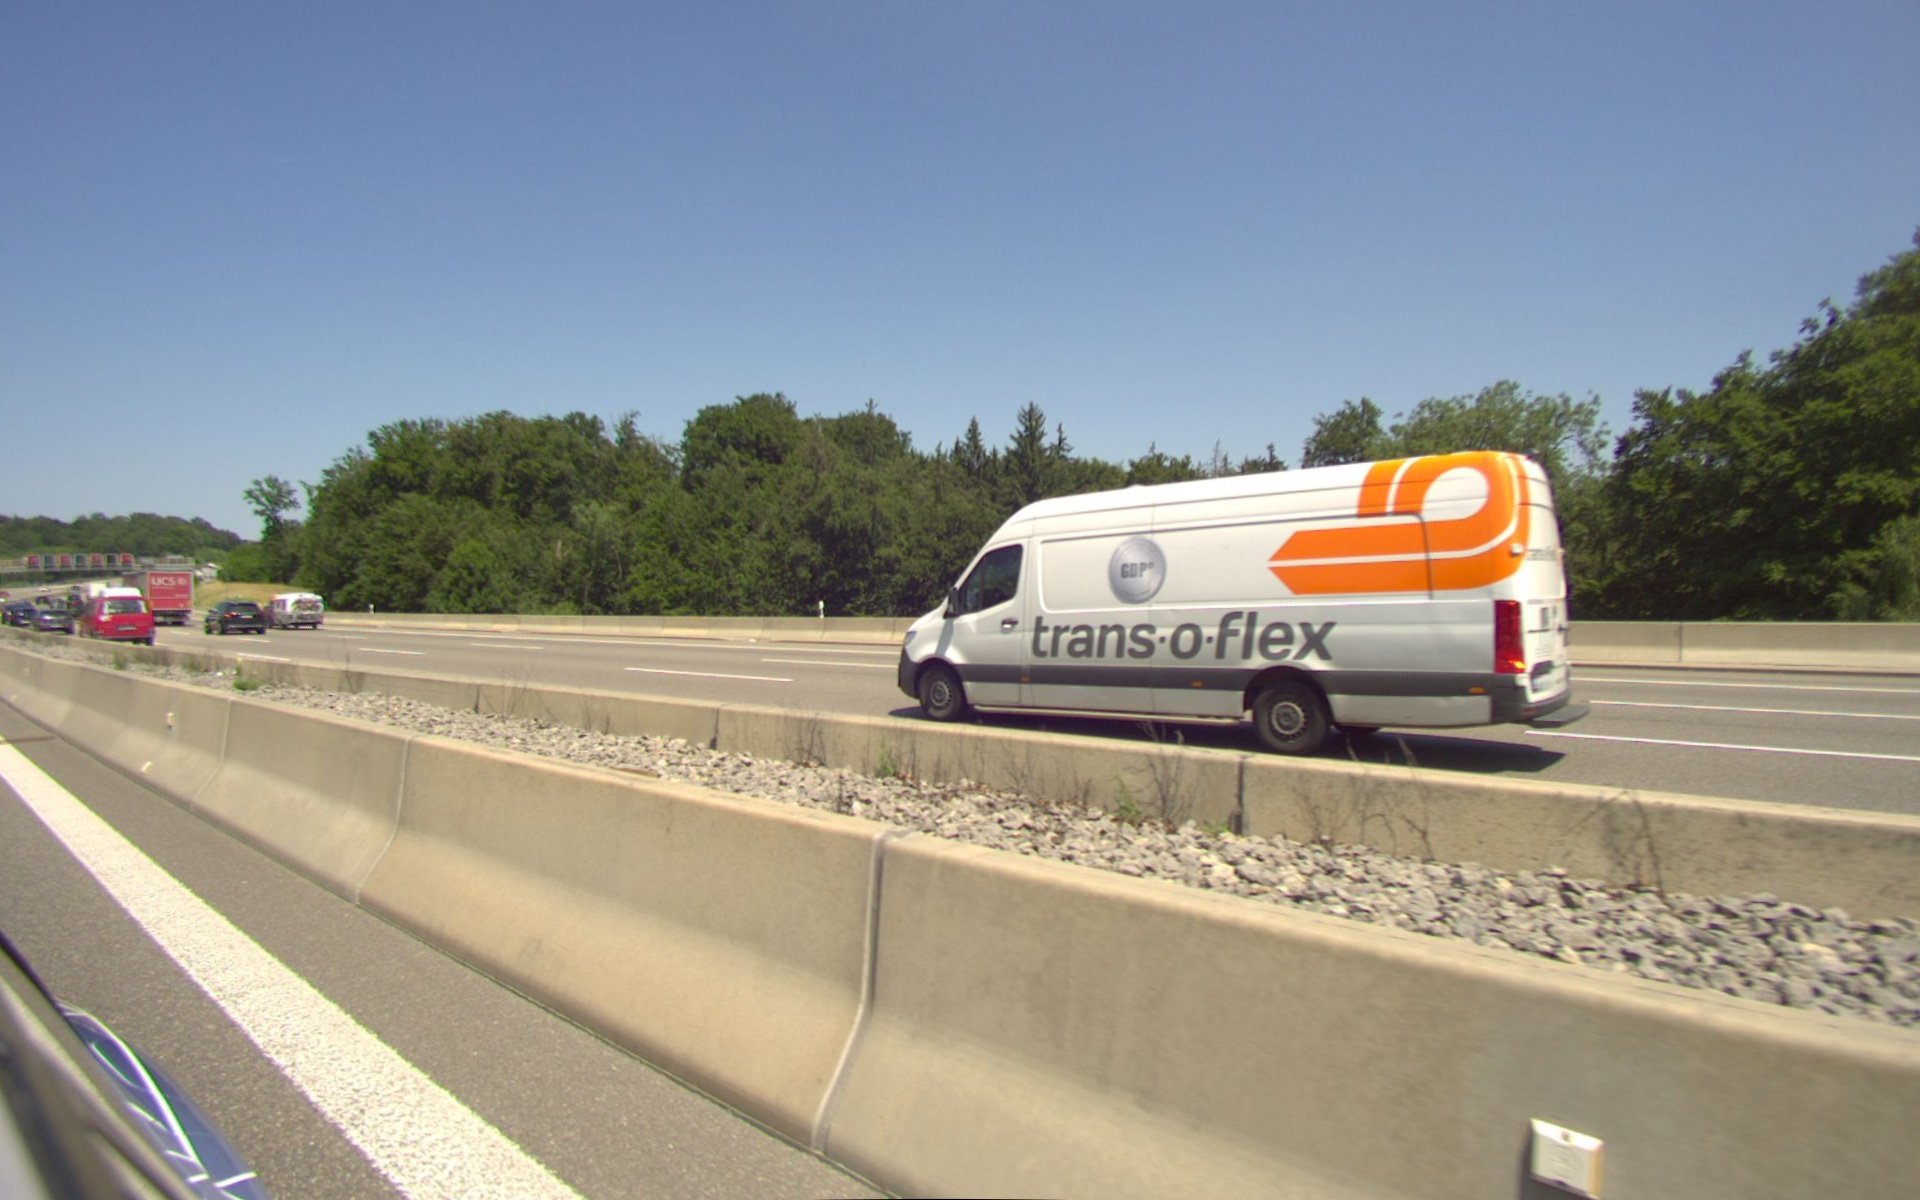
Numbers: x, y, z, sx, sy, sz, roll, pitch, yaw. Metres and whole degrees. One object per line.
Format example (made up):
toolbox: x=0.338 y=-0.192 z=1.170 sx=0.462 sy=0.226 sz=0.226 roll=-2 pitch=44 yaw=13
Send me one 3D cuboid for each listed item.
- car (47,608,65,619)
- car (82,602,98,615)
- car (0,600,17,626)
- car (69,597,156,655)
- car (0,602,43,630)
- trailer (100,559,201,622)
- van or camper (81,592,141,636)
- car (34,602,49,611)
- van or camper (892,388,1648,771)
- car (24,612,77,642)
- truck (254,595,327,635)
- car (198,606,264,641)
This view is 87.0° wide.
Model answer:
car: x=-139.557 y=2.080 z=156.148 sx=4.640 sy=1.647 sz=1.735 roll=-1 pitch=-1 yaw=44
car: x=-145.735 y=1.436 z=169.535 sx=1.969 sy=2.028 sz=4.006 roll=-2 pitch=3 yaw=-41
car: x=-79.401 y=1.065 z=83.498 sx=4.000 sy=2.028 sz=1.972 roll=2 pitch=3 yaw=43
car: x=-31.960 y=0.924 z=38.116 sx=4.640 sy=1.997 sz=1.886 roll=0 pitch=2 yaw=42
car: x=-65.504 y=1.092 z=70.547 sx=5.198 sy=1.736 sz=1.971 roll=1 pitch=2 yaw=44
trailer: x=-60.945 y=-0.696 z=75.966 sx=14.477 sy=4.312 sz=3.794 roll=0 pitch=1 yaw=43
van or camper: x=-51.927 y=0.825 z=61.849 sx=6.400 sy=2.585 sz=2.077 roll=0 pitch=0 yaw=43
car: x=-166.944 y=1.128 z=183.916 sx=1.970 sy=1.680 sz=4.438 roll=-1 pitch=0 yaw=-44
van or camper: x=2.624 y=-0.103 z=10.629 sx=7.410 sy=2.821 sz=1.973 roll=-1 pitch=-1 yaw=41
car: x=-50.553 y=1.470 z=56.232 sx=4.824 sy=1.521 sz=1.750 roll=0 pitch=2 yaw=43
truck: x=-41.575 y=0.869 z=62.680 sx=2.023 sy=2.271 sz=8.828 roll=-2 pitch=2 yaw=-45
car: x=-38.645 y=1.206 z=53.635 sx=5.070 sy=1.775 sz=1.971 roll=0 pitch=0 yaw=44
